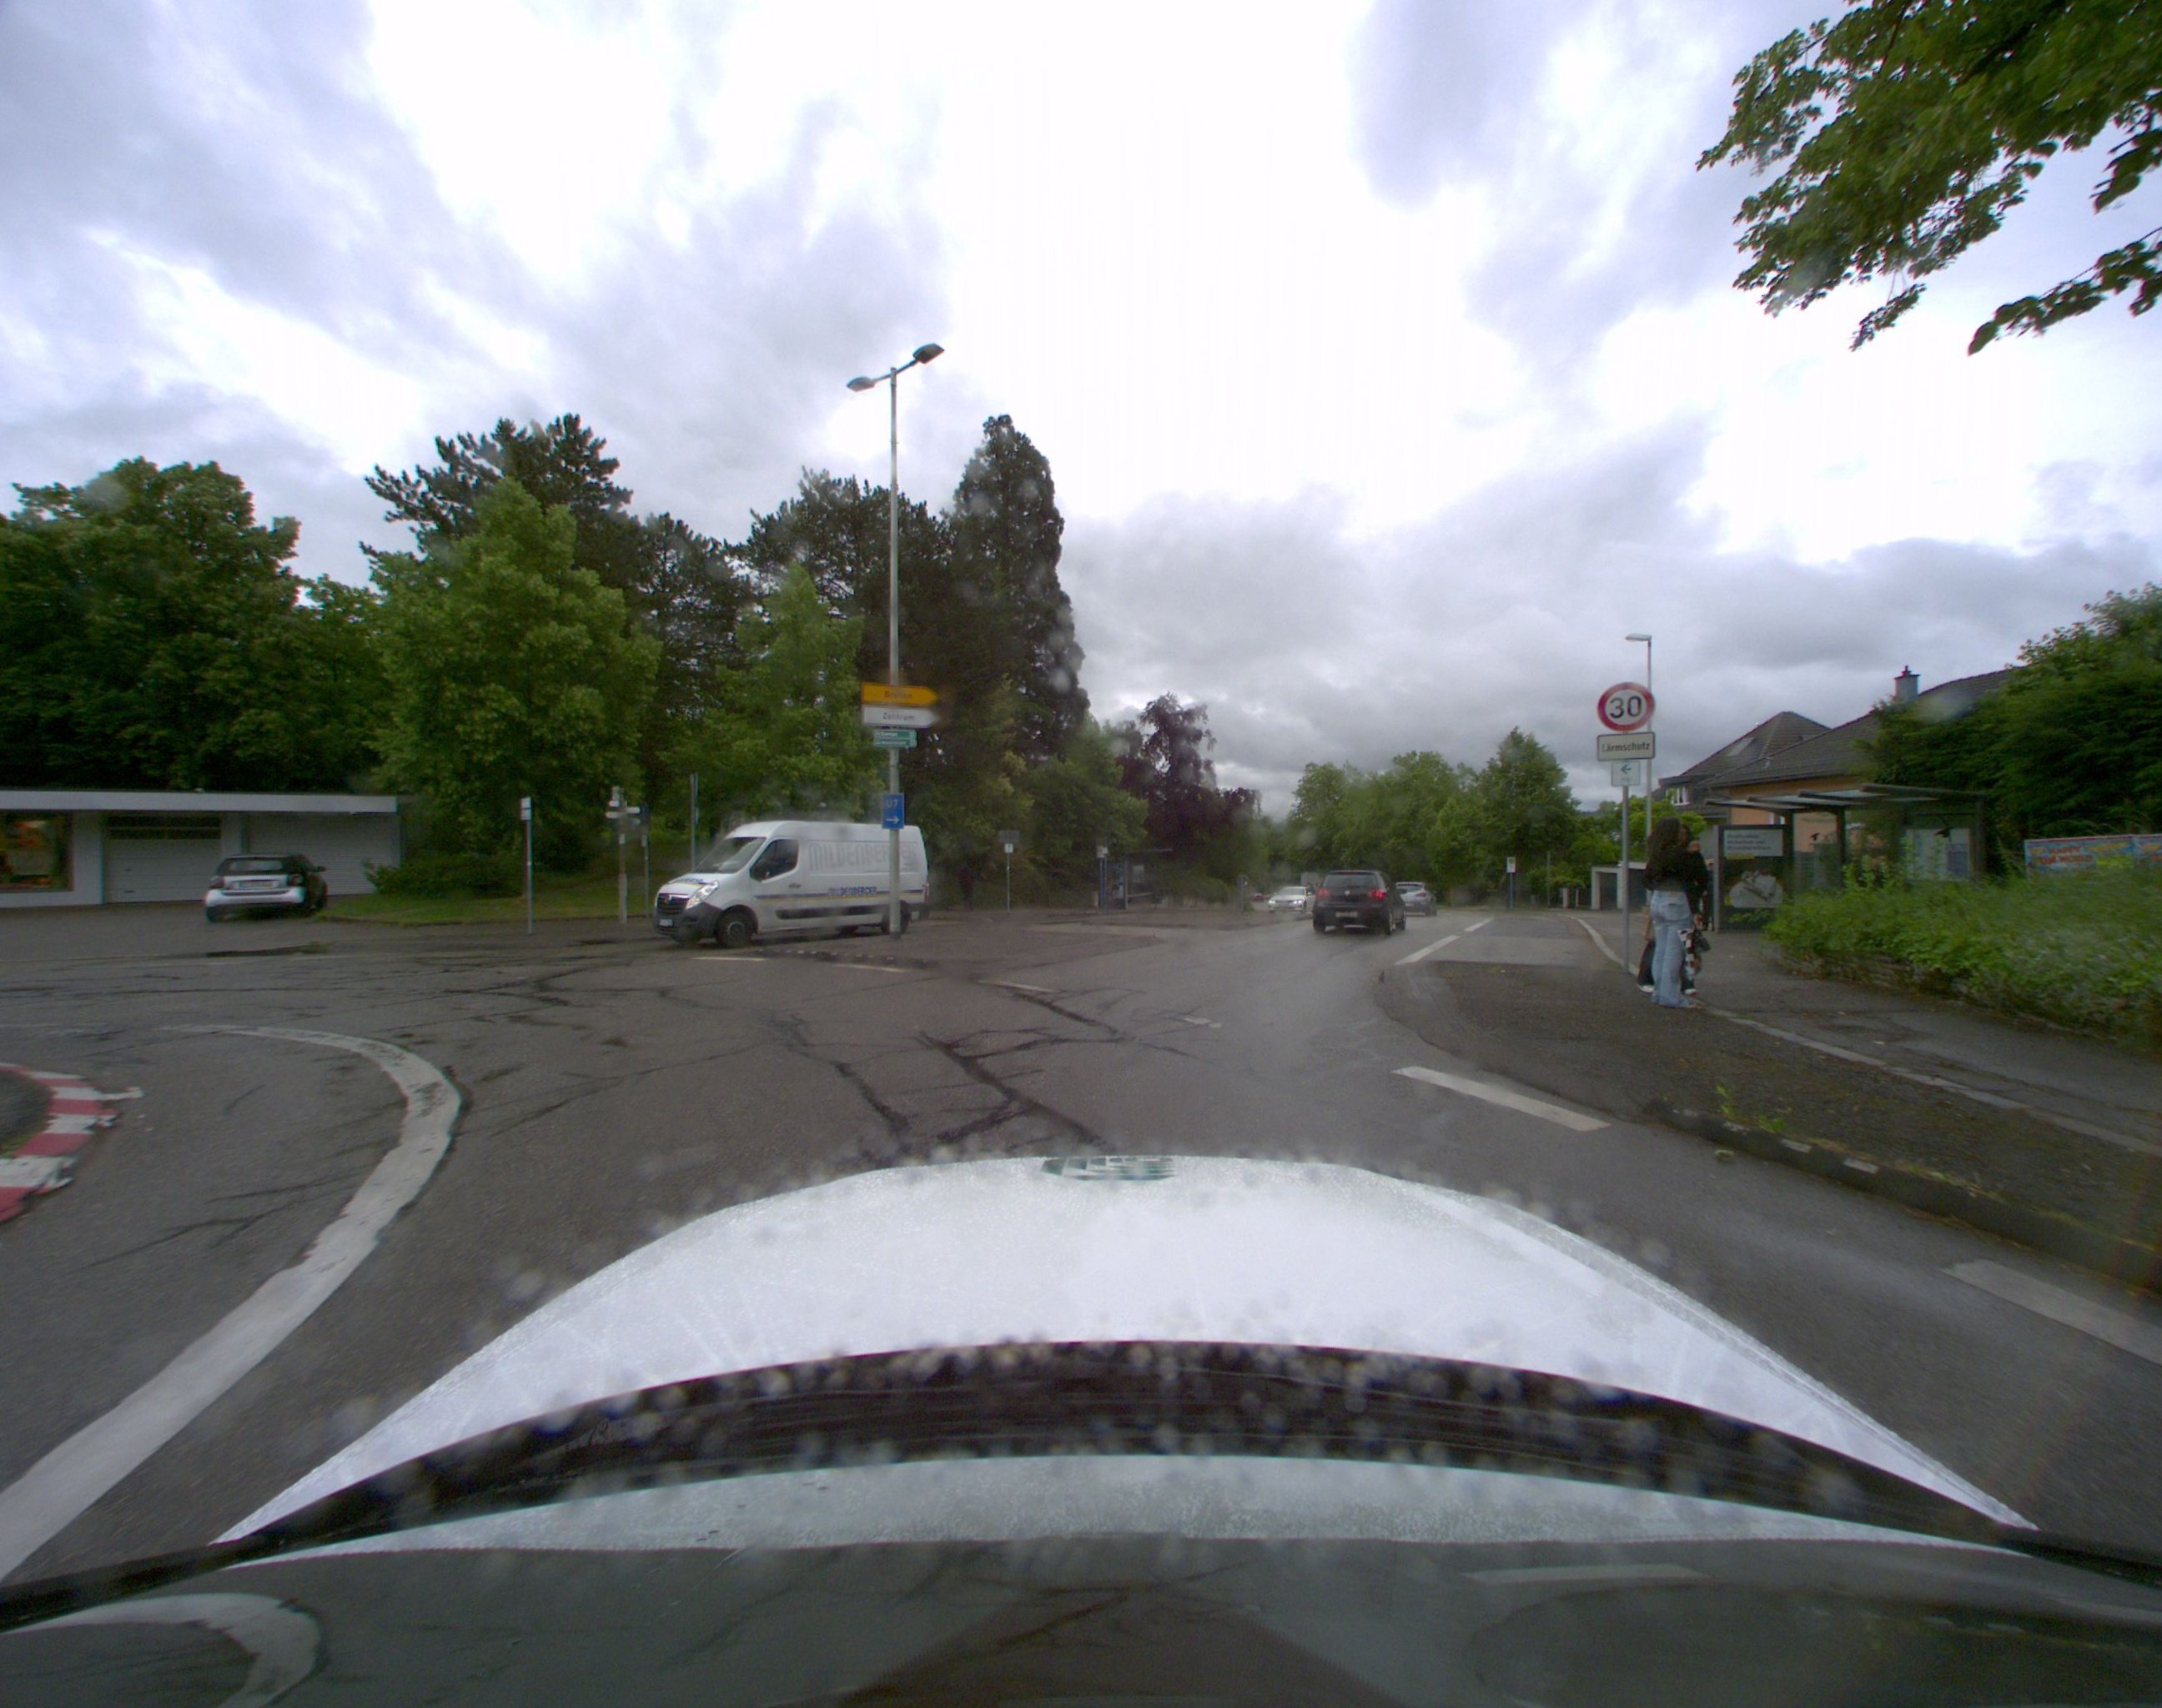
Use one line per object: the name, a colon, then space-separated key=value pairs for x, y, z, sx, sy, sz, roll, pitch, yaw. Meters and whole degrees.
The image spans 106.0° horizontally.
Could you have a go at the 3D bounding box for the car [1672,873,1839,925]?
car: x=22.314 y=1.459 z=27.090 sx=3.868 sy=1.632 sz=1.906 roll=0 pitch=-1 yaw=7

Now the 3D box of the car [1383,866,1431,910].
car: x=14.089 y=1.527 z=35.278 sx=1.749 sy=1.802 sz=4.267 roll=-2 pitch=-4 yaw=21

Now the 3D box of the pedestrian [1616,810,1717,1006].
pedestrian: x=5.430 y=0.481 z=7.556 sx=0.532 sy=1.713 sz=0.628 roll=2 pitch=-2 yaw=-38

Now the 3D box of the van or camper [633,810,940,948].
van or camper: x=-5.841 y=0.498 z=16.982 sx=2.172 sy=2.378 sz=5.704 roll=0 pitch=-2 yaw=38

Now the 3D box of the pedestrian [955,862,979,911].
pedestrian: x=-4.049 y=1.140 z=28.943 sx=0.736 sy=1.725 sz=0.815 roll=1 pitch=-1 yaw=-3

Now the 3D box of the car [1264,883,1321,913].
car: x=11.117 y=2.310 z=42.498 sx=1.891 sy=1.393 sz=4.541 roll=0 pitch=-3 yaw=27

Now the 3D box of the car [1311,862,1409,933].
car: x=6.910 y=1.001 z=19.917 sx=1.748 sy=1.539 sz=4.023 roll=-1 pitch=-2 yaw=26

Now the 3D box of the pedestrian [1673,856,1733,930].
pedestrian: x=14.636 y=0.924 z=19.175 sx=1.000 sy=1.696 sz=0.962 roll=-4 pitch=-4 yaw=39

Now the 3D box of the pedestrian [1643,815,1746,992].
pedestrian: x=6.162 y=0.490 z=8.196 sx=0.633 sy=1.713 sz=0.528 roll=1 pitch=-1 yaw=-8

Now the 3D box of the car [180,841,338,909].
car: x=-20.191 y=0.473 z=20.214 sx=1.824 sy=1.486 sz=3.793 roll=-2 pitch=1 yaw=-31
